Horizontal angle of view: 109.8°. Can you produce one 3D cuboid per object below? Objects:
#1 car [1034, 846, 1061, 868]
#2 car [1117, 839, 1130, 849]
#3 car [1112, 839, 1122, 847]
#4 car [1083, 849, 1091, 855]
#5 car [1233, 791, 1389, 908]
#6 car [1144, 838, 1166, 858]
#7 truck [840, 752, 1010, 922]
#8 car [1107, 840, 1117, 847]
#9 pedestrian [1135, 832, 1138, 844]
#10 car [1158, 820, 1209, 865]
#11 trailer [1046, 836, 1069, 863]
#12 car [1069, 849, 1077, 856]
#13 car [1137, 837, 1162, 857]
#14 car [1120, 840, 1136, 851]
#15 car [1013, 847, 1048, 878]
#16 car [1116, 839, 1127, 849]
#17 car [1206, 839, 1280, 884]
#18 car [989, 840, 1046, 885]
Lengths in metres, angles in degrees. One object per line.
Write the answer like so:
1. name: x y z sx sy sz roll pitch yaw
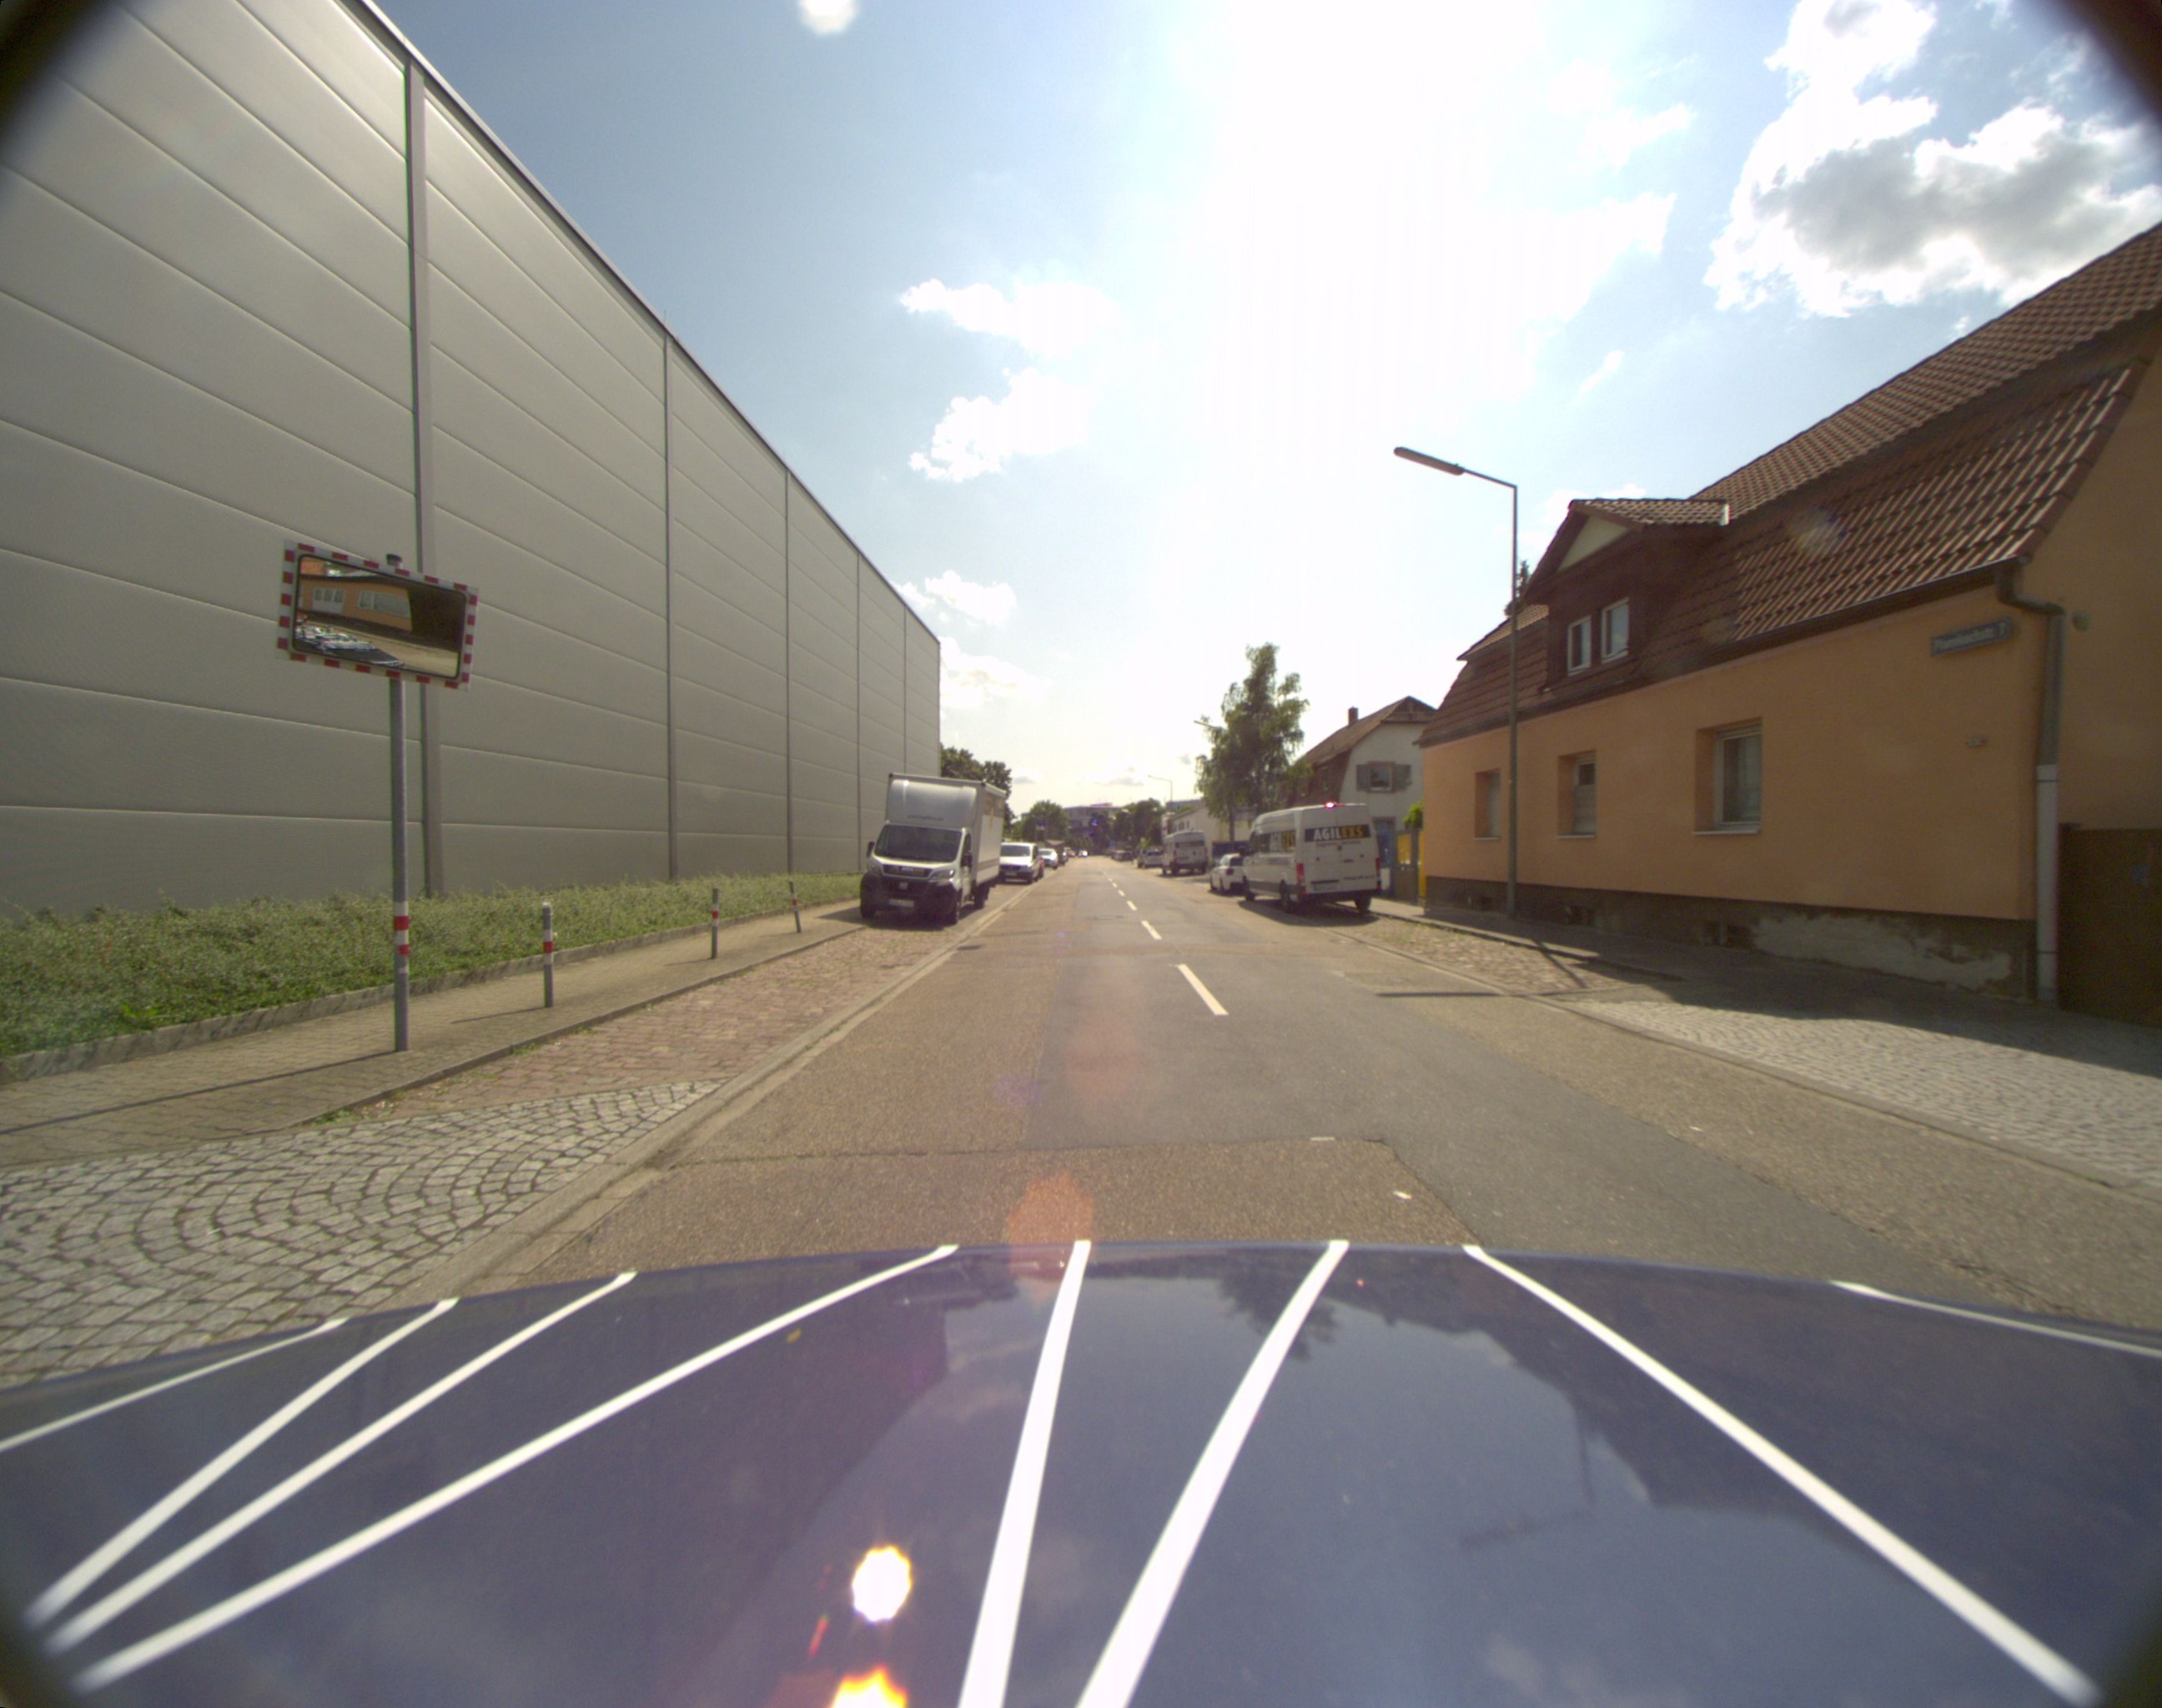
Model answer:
1. car: -2.737 0.227 62.772 1.940 1.684 4.679 1 1 0
2. car: 6.613 -1.550 118.885 1.625 1.514 4.174 -1 1 -2
3. car: 7.063 -2.122 149.624 1.849 1.499 3.999 -4 1 0
4. car: 1.256 -0.416 172.054 1.758 1.211 4.224 -1 1 0
5. car: 5.860 -0.183 20.497 2.032 2.547 6.837 -3 2 0
6. car: 6.294 -0.513 65.059 1.613 1.565 3.009 -5 1 3
7. truck: -3.467 -0.424 18.697 2.464 3.275 6.816 4 1 1
8. car: 7.273 -2.576 179.473 1.762 1.565 4.474 -2 2 -3
9. pedestrian: 8.586 -2.438 117.521 0.452 1.883 0.677 -1 2 0
10. car: 6.287 -0.748 47.411 2.035 2.543 6.654 -3 2 -1
11. trailer: -2.510 -0.576 81.499 2.210 2.721 6.219 2 2 0
12. car: -1.746 -0.394 168.108 1.758 1.478 4.224 2 1 0
13. car: 6.245 -0.650 69.914 1.795 1.710 4.750 -4 1 1
14. car: 6.534 -1.245 106.452 1.810 1.410 4.495 -3 1 -1
15. car: -2.814 0.428 43.221 1.708 1.615 4.092 -1 1 0
16. car: 6.765 -1.691 128.127 1.649 1.469 4.027 -1 2 0
17. car: 5.777 0.215 27.572 1.800 1.389 4.501 -3 2 2
18. car: -2.918 0.329 35.864 2.059 1.892 5.146 -1 1 2
